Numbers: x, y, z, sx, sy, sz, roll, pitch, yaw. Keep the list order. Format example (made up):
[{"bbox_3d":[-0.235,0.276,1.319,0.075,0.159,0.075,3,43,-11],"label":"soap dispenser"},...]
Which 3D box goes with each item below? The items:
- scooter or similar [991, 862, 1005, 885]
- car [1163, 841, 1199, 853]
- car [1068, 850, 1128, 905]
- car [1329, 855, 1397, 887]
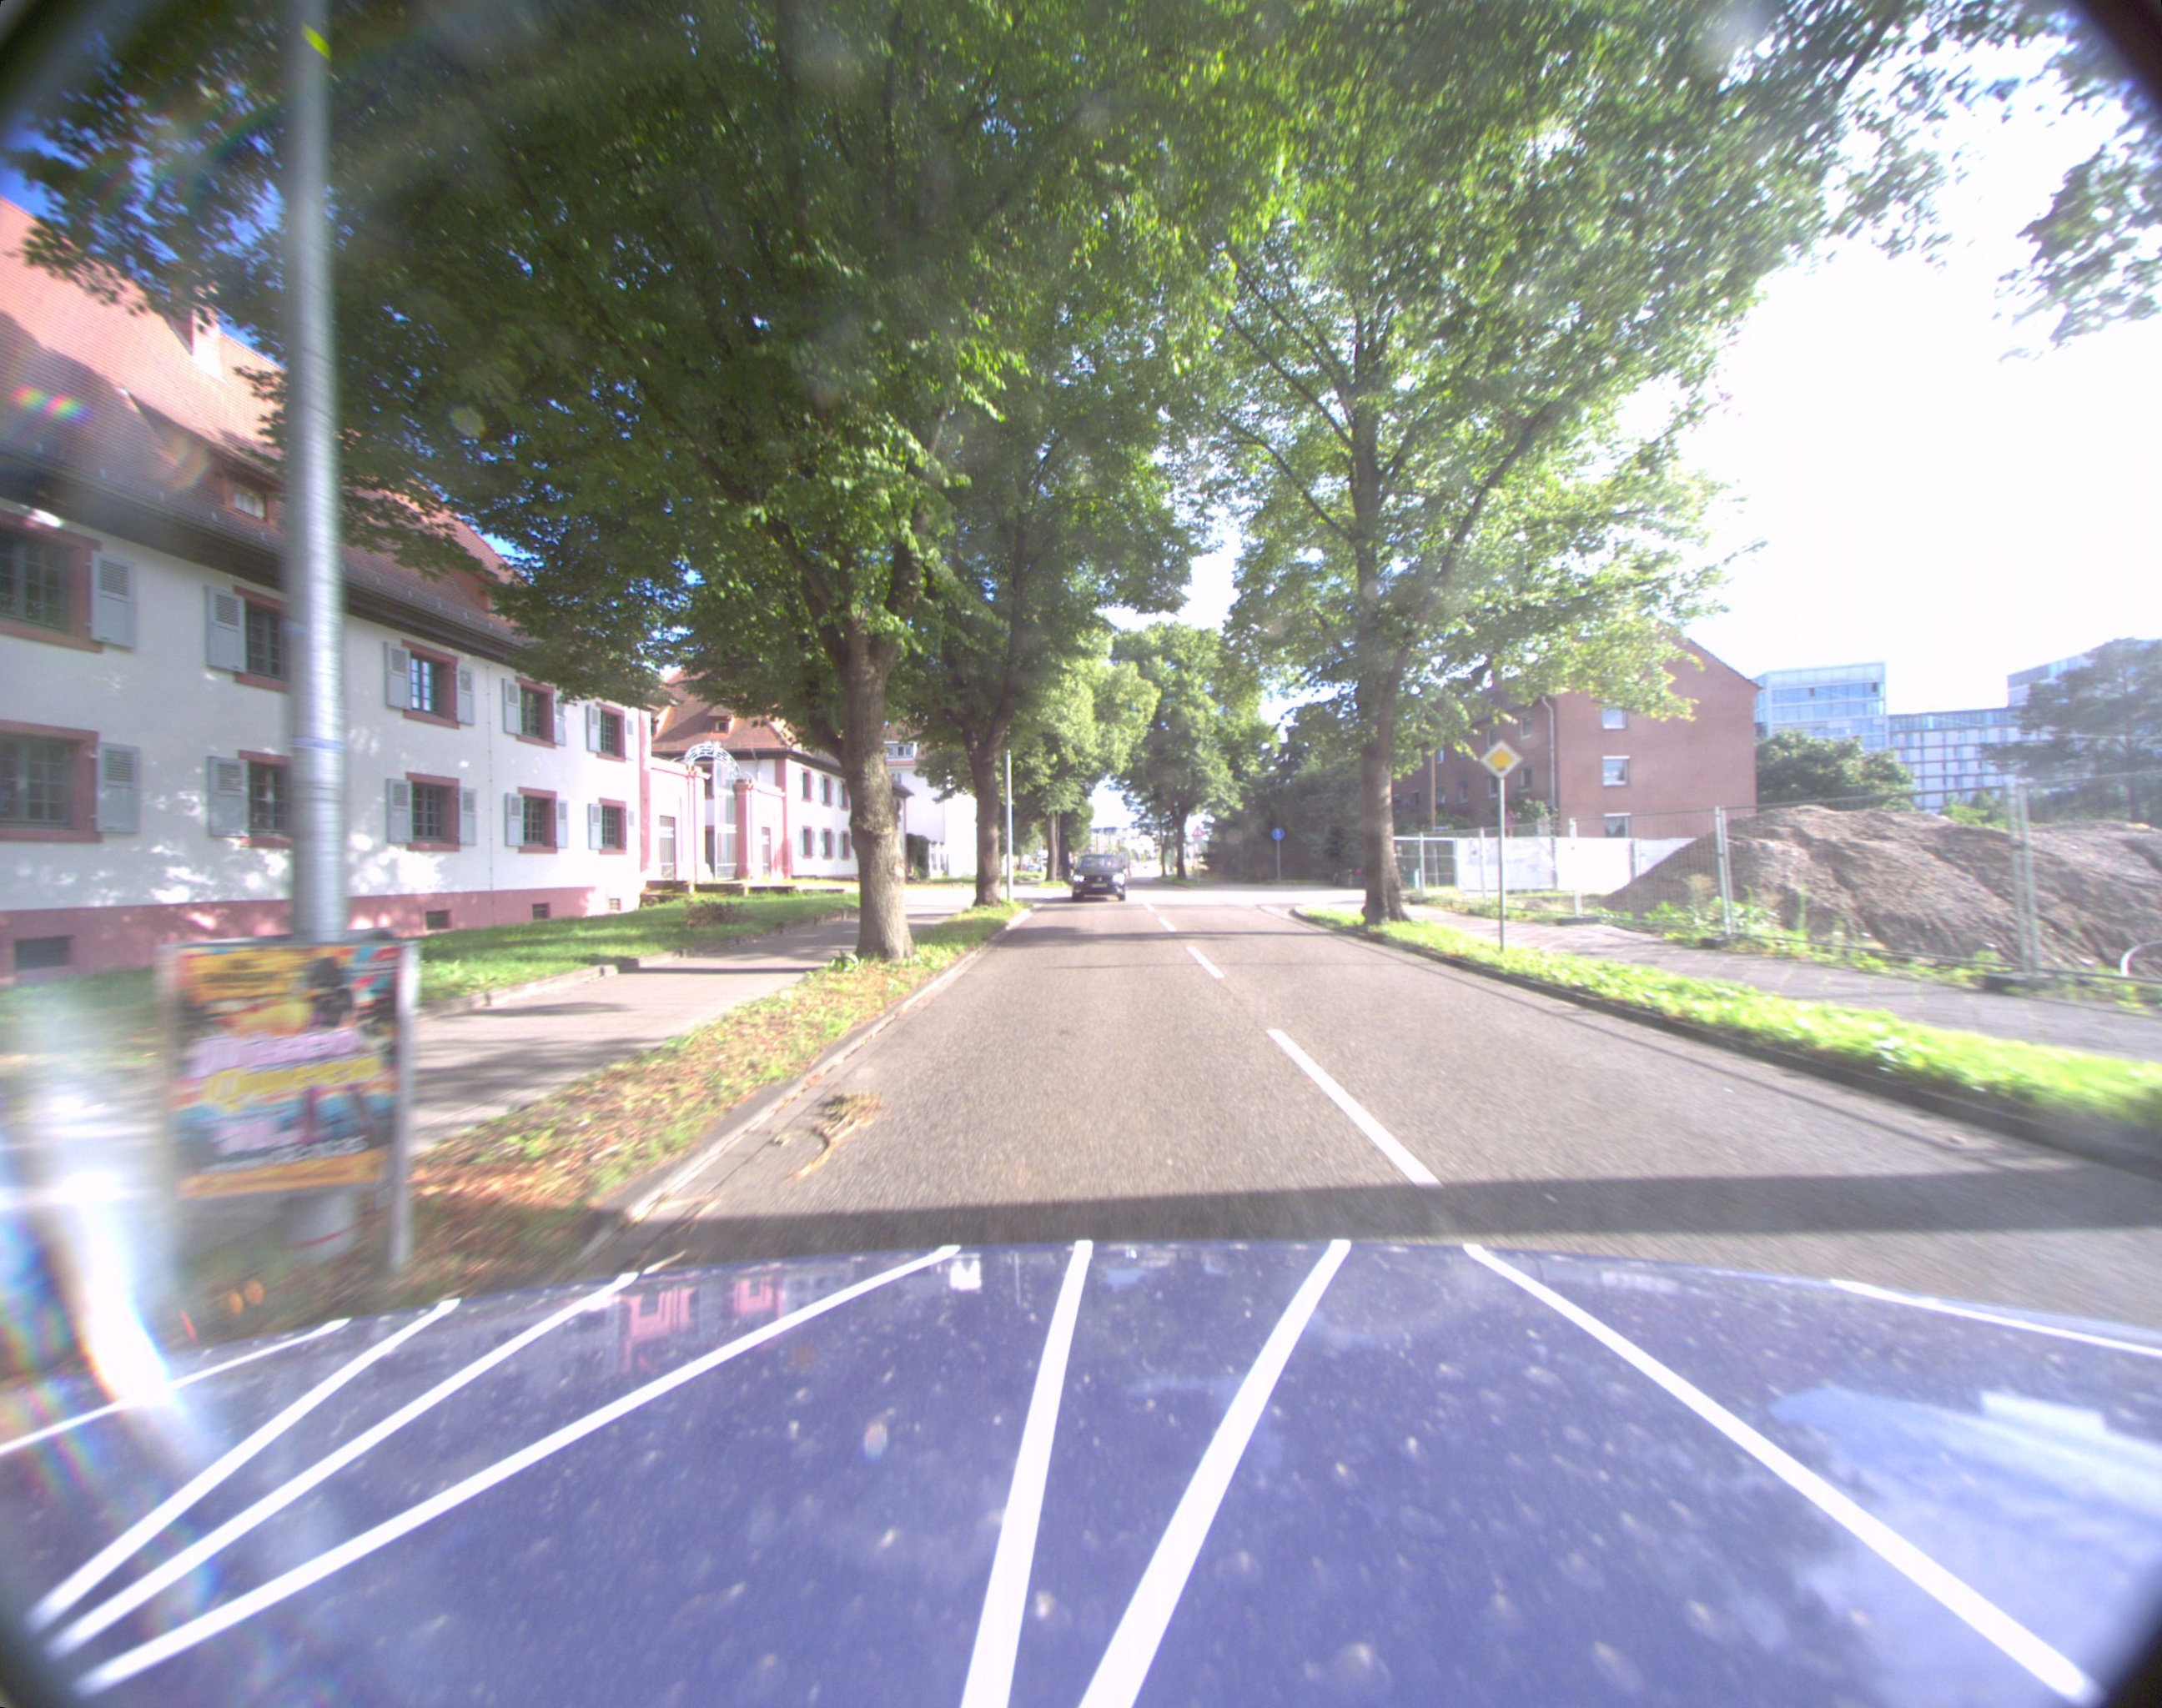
[{"bbox_3d":[-4.752,1.120,43.448,0.580,1.284,1.382,1,0,3],"label":"scooter or similar"},{"bbox_3d":[17.963,-1.203,136.394,2.482,1.856,6.235,-2,0,-42],"label":"car"},{"bbox_3d":[0.651,0.772,25.957,1.821,1.648,4.244,-2,-1,3],"label":"car"},{"bbox_3d":[14.156,0.803,38.447,1.998,1.420,4.508,0,1,4],"label":"car"}]
